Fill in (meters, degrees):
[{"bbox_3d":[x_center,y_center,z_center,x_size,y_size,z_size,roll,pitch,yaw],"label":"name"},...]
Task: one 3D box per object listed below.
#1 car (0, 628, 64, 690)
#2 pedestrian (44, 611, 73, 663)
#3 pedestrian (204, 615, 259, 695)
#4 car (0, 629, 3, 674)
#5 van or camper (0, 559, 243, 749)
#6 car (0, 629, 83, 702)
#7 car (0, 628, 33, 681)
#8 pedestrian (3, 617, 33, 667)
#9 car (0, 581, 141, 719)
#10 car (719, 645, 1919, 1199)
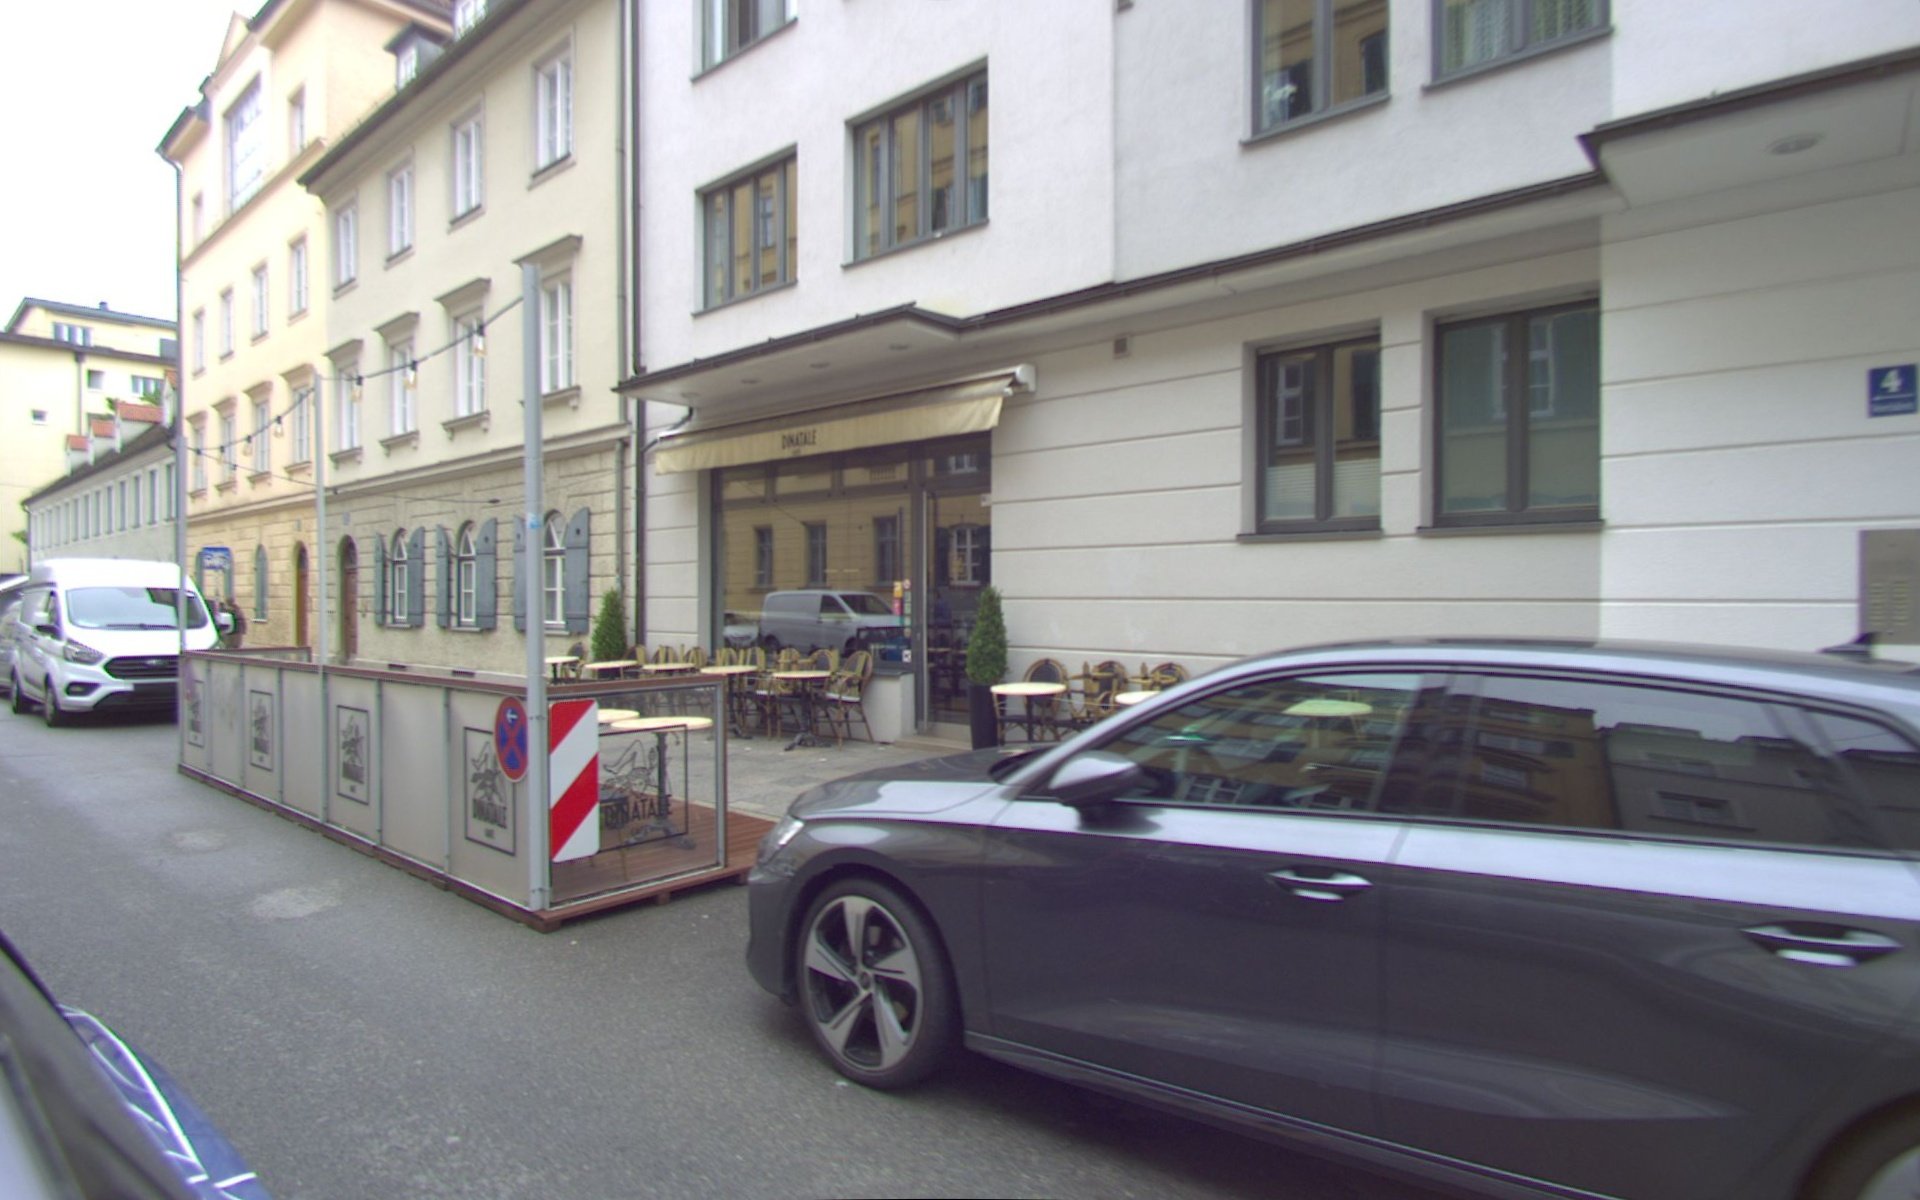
[{"bbox_3d":[-24.127,1.445,25.319,4.264,1.412,1.839,-1,-1,38],"label":"car"},{"bbox_3d":[-30.217,1.243,33.911,0.805,1.711,0.574,-1,-2,38],"label":"pedestrian"},{"bbox_3d":[-16.101,1.191,22.362,1.021,1.725,0.797,-2,-2,43],"label":"pedestrian"},{"bbox_3d":[-32.459,1.669,32.675,4.267,1.412,1.838,-1,-1,41],"label":"car"},{"bbox_3d":[-12.618,0.715,15.021,5.475,2.329,1.973,-1,-2,41],"label":"van or camper"},{"bbox_3d":[-20.688,1.366,21.965,4.265,1.412,1.839,-1,-1,40],"label":"car"},{"bbox_3d":[-28.029,1.531,28.847,4.266,1.412,1.839,-1,-1,40],"label":"car"},{"bbox_3d":[-30.783,1.368,33.057,0.662,1.610,0.607,-1,-2,38],"label":"pedestrian"},{"bbox_3d":[-16.630,0.831,18.424,4.557,2.218,1.839,-1,-1,40],"label":"car"},{"bbox_3d":[1.279,0.833,3.028,4.049,1.365,1.624,-1,-3,35],"label":"car"}]
